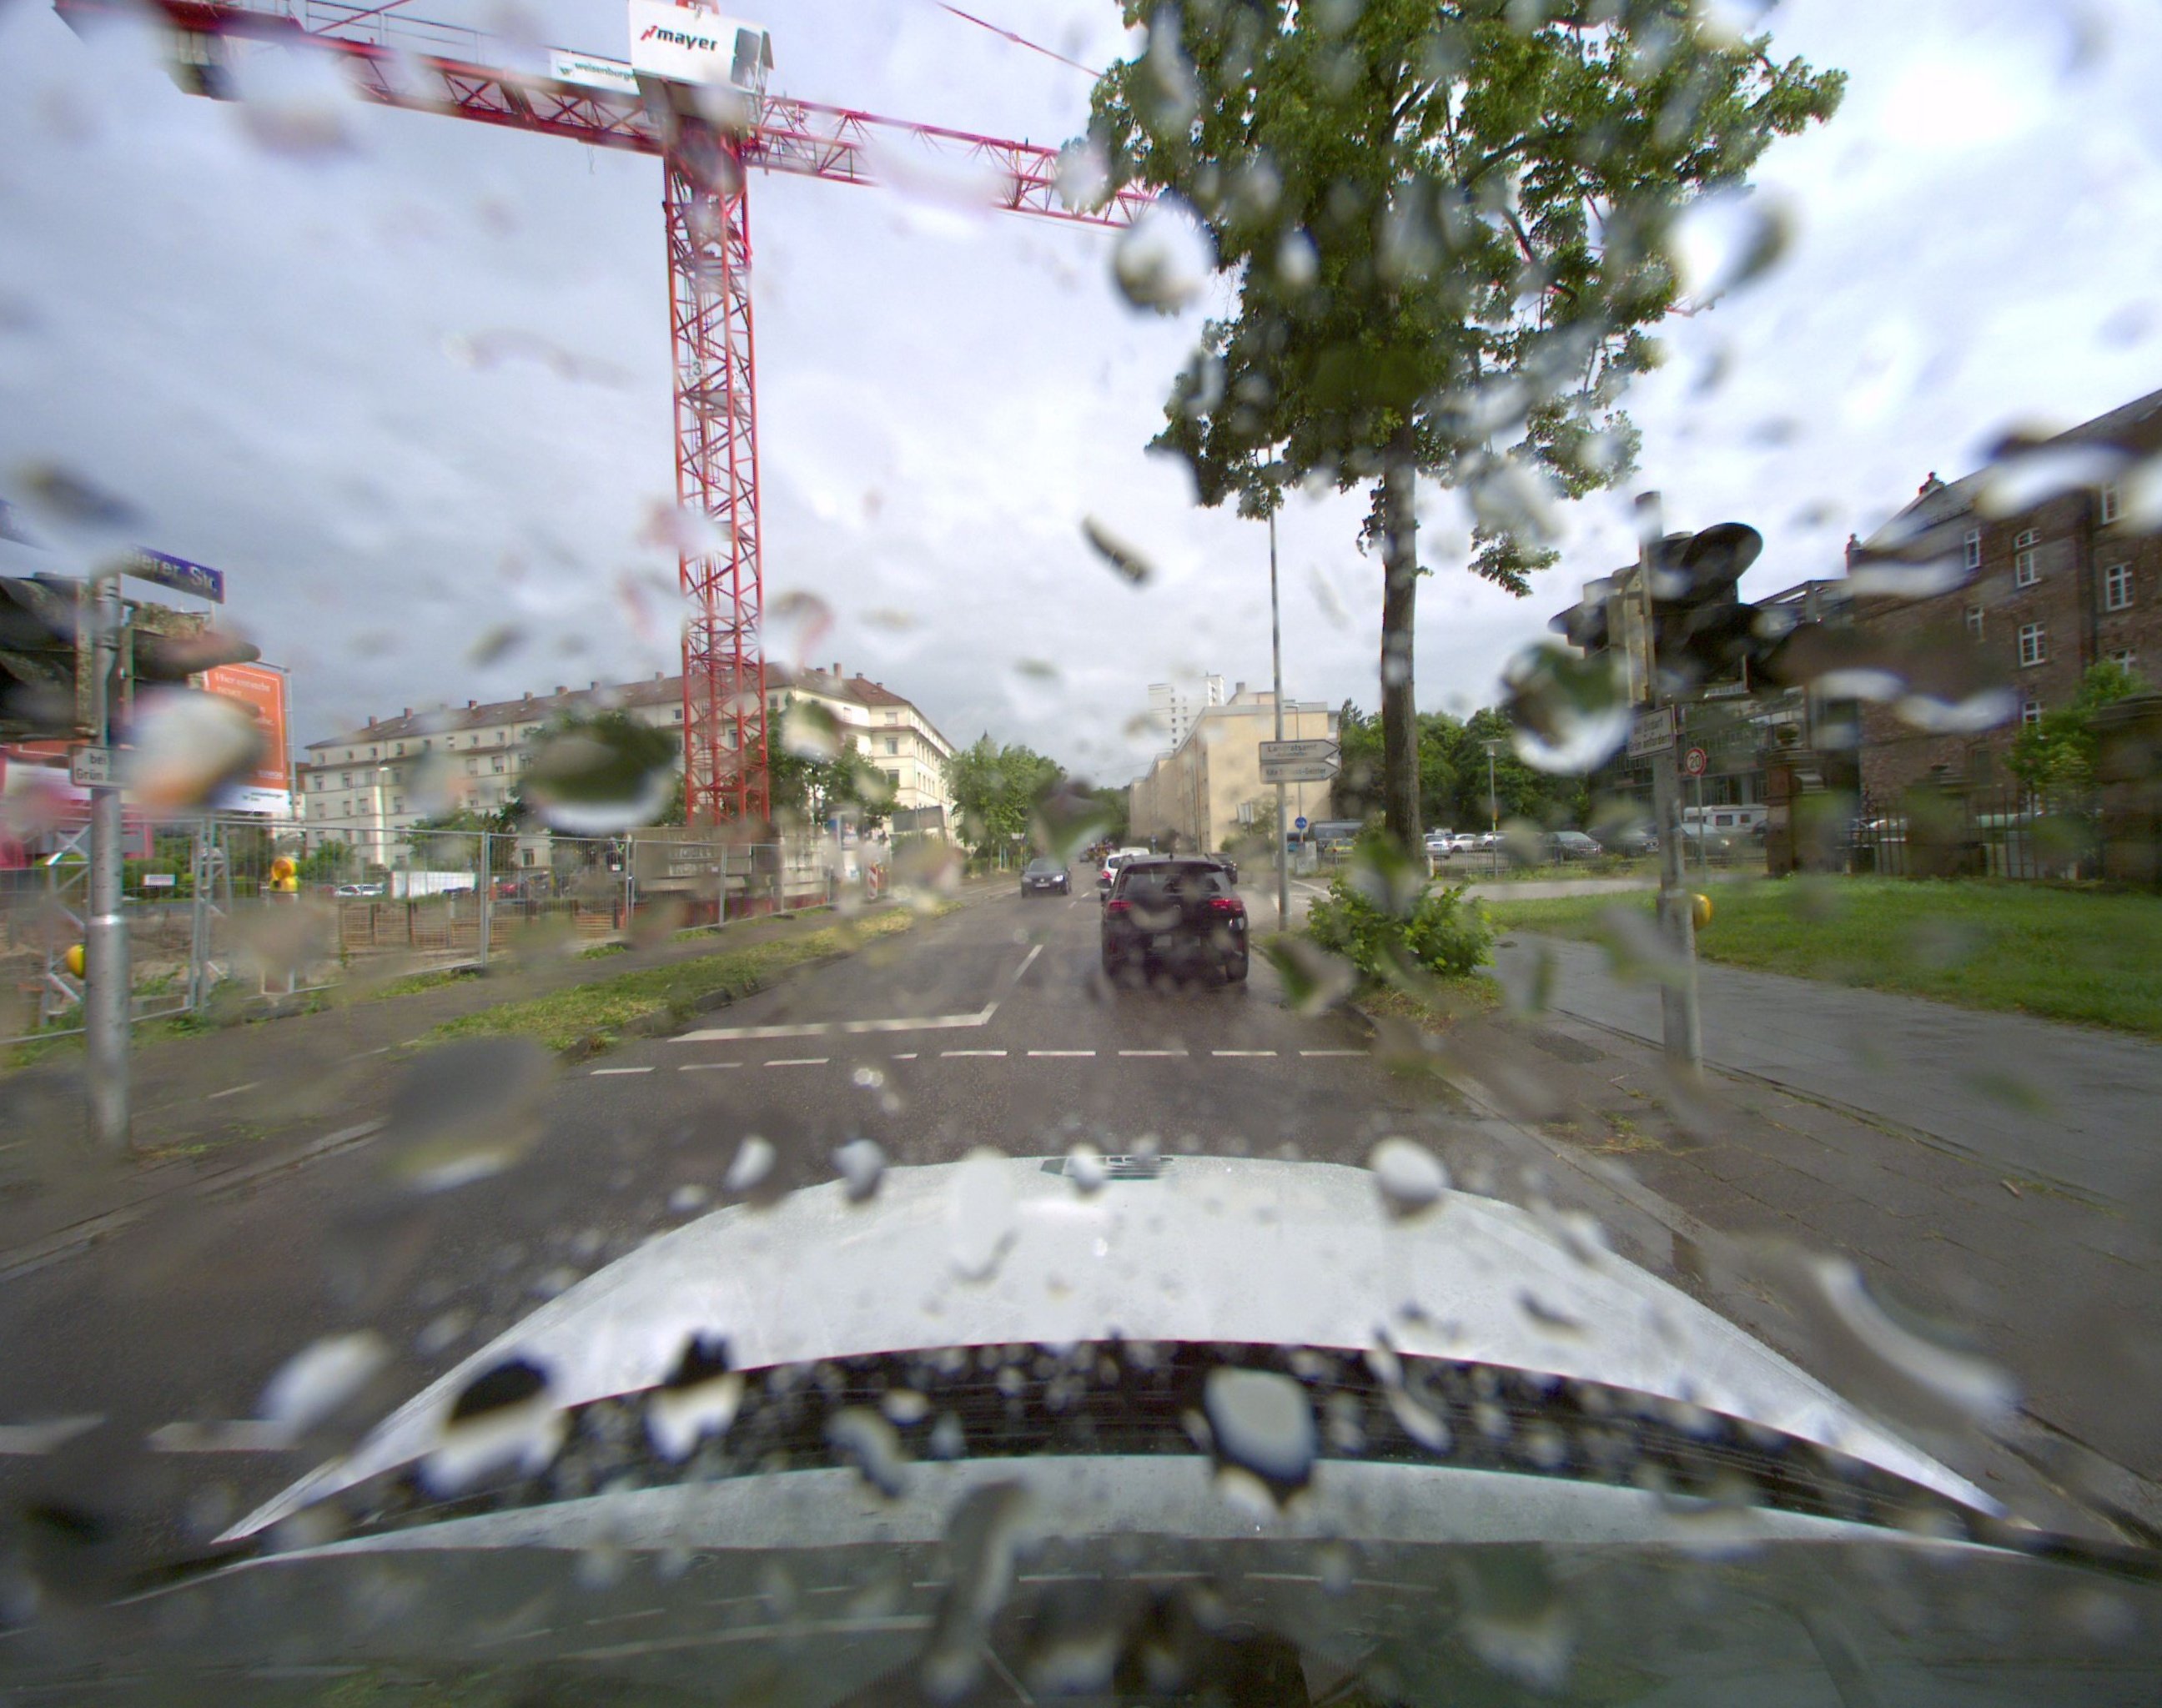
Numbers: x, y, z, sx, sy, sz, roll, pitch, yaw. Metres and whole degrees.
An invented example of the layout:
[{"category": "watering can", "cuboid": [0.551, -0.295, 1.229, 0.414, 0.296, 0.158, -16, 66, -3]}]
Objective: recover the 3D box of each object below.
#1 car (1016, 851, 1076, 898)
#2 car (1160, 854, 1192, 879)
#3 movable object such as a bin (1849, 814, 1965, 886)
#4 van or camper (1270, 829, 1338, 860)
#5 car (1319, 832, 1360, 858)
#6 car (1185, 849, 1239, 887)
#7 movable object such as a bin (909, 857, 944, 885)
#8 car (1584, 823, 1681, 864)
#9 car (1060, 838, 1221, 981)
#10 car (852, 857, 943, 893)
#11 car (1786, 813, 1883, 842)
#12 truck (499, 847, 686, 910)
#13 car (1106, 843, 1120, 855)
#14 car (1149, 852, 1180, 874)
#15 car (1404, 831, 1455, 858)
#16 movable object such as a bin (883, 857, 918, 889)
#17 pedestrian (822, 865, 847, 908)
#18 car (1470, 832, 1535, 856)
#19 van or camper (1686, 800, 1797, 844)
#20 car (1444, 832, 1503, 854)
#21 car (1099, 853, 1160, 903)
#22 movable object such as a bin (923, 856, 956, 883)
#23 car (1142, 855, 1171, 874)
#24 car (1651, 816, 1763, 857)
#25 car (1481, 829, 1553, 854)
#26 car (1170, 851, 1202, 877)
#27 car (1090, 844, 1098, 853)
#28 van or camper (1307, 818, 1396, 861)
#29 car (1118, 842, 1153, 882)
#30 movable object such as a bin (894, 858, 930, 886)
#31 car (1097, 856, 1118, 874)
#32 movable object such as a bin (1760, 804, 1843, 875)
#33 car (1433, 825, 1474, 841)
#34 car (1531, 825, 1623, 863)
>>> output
[{"category": "car", "cuboid": [-1.302, 0.764, 31.840, 1.833, 1.608, 4.003, -4, 0, 3]}, {"category": "car", "cuboid": [6.338, 0.803, 54.637, 1.599, 1.508, 4.159, -4, -1, 0]}, {"category": "movable object such as a bin", "cuboid": [18.220, -0.088, 18.013, 1.101, 1.457, 1.392, -4, 0, 3]}, {"category": "van or camper", "cuboid": [17.251, -0.717, 63.126, 4.736, 2.131, 2.325, -2, 0, 5]}, {"category": "car", "cuboid": [15.581, -0.511, 49.285, 1.603, 1.449, 3.421, -3, 0, 5]}, {"category": "car", "cuboid": [6.004, 0.602, 37.779, 1.768, 1.539, 4.378, -5, 0, 1]}, {"category": "movable object such as a bin", "cuboid": [-9.971, 1.086, 52.616, 1.524, 1.674, 1.674, -3, 0, 21]}, {"category": "car", "cuboid": [25.261, -0.460, 37.504, 1.843, 1.679, 4.433, -3, 0, 8]}, {"category": "car", "cuboid": [0.765, 0.670, 11.518, 1.866, 1.645, 4.063, 0, -1, 2]}, {"category": "car", "cuboid": [-10.141, 1.167, 45.060, 4.404, 1.584, 1.828, -4, 2, 11]}, {"category": "car", "cuboid": [40.560, -1.422, 43.899, 3.650, 1.486, 1.674, 1, 0, 3]}, {"category": "truck", "cuboid": [-29.167, 1.462, 48.742, 9.738, 3.184, 3.808, -3, 0, 15]}, {"category": "car", "cuboid": [4.585, -0.766, 117.571, 1.833, 1.608, 3.678, -4, 0, 3]}, {"category": "car", "cuboid": [6.183, 0.718, 60.567, 1.744, 1.508, 4.108, -2, -2, -2]}, {"category": "car", "cuboid": [20.726, -0.546, 48.542, 1.641, 1.486, 3.723, -3, 0, 5]}, {"category": "movable object such as a bin", "cuboid": [-10.979, 1.141, 49.537, 1.524, 1.824, 1.270, -3, 0, 21]}, {"category": "pedestrian", "cuboid": [-9.421, 1.225, 31.090, 0.727, 1.630, 0.676, 1, -1, -36]}, {"category": "car", "cuboid": [29.620, -0.717, 57.312, 3.649, 1.486, 1.642, -3, 0, 5]}, {"category": "van or camper", "cuboid": [39.625, -1.869, 48.961, 4.768, 2.486, 2.258, 0, -1, 1]}, {"category": "car", "cuboid": [30.105, -0.854, 62.557, 3.649, 1.486, 1.642, -3, 0, 5]}, {"category": "car", "cuboid": [1.526, 0.747, 26.328, 1.806, 1.503, 4.002, 0, -1, 2]}, {"category": "movable object such as a bin", "cuboid": [-9.408, 1.021, 54.119, 1.524, 1.662, 1.466, -3, 0, 21]}, {"category": "car", "cuboid": [6.111, 0.813, 66.275, 1.712, 1.452, 4.255, -1, 0, -2]}, {"category": "car", "cuboid": [28.308, -0.762, 37.041, 1.845, 1.679, 4.428, -3, 0, 4]}, {"category": "car", "cuboid": [29.483, -0.839, 55.170, 3.957, 1.465, 1.674, -3, 0, 3]}, {"category": "car", "cuboid": [6.329, 0.648, 49.521, 1.748, 1.528, 4.005, 0, -2, 5]}, {"category": "car", "cuboid": [2.953, -1.200, 180.324, 1.660, 1.837, 3.999, -3, 0, 0]}, {"category": "van or camper", "cuboid": [17.472, -0.908, 52.833, 4.977, 2.554, 2.176, -2, -1, 3]}, {"category": "car", "cuboid": [3.059, 0.470, 45.488, 1.828, 2.103, 4.004, 0, -1, 4]}, {"category": "movable object such as a bin", "cuboid": [-10.566, 1.130, 51.068, 1.524, 1.656, 1.536, -3, 0, 21]}, {"category": "car", "cuboid": [2.447, 0.998, 75.757, 1.600, 1.510, 3.545, -3, 0, -2]}, {"category": "movable object such as a bin", "cuboid": [15.817, -0.312, 17.900, 0.796, 1.457, 1.098, -4, 0, 3]}, {"category": "car", "cuboid": [35.755, -2.000, 78.238, 3.209, 1.397, 1.511, -3, 0, 5]}, {"category": "car", "cuboid": [22.335, -0.415, 36.862, 1.819, 1.527, 4.432, -3, 0, 7]}]
